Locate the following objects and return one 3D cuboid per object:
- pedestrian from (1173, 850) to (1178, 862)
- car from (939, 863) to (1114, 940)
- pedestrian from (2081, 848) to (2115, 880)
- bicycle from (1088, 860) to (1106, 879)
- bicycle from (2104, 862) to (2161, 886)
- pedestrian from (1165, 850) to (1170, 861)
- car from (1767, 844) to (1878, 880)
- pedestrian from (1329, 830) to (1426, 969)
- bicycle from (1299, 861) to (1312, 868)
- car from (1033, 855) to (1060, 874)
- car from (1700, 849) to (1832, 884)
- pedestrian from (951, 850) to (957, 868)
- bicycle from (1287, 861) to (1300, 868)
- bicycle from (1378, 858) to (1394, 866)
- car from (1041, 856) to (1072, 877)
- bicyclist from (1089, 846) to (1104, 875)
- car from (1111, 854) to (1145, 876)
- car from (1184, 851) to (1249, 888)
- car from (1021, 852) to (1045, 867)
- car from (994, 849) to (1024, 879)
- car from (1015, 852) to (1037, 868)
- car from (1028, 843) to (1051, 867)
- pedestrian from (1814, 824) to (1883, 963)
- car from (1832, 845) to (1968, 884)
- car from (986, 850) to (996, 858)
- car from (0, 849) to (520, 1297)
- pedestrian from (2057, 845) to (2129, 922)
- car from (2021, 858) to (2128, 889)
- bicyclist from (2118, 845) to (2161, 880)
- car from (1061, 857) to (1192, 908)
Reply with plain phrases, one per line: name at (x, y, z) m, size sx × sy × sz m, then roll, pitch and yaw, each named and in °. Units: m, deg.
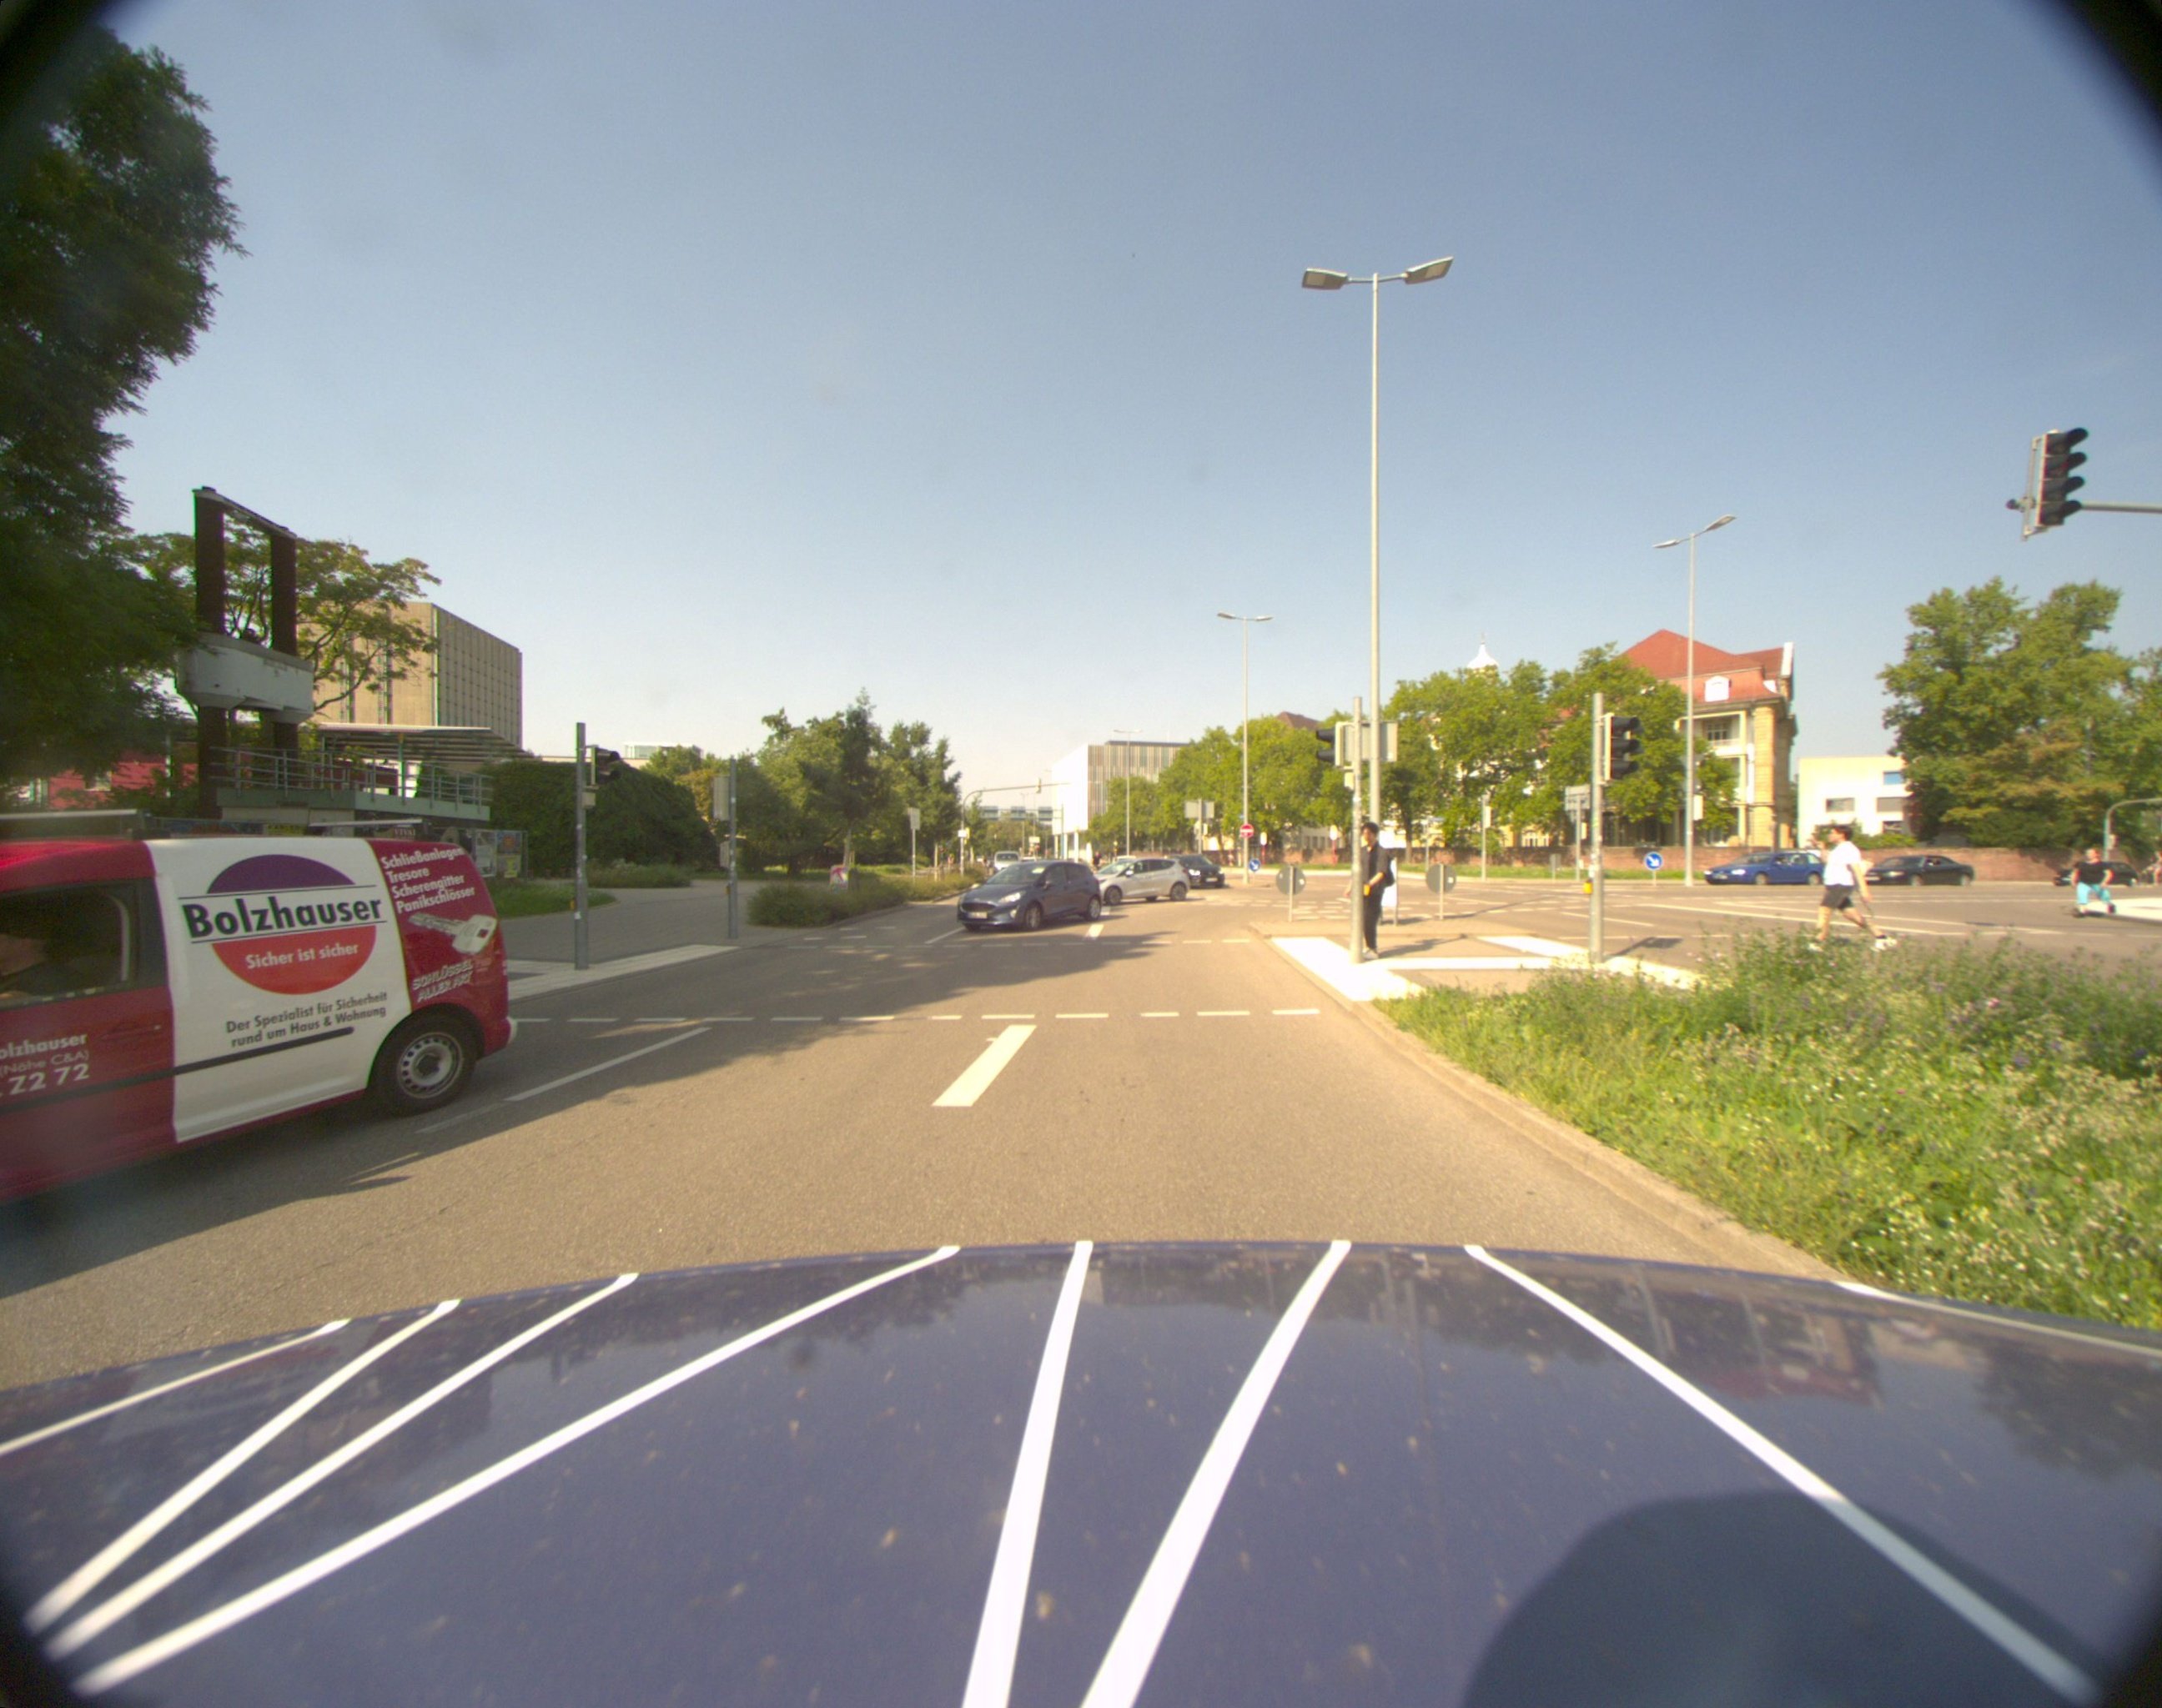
pedestrian at (13.354, 0.289, 107.100) m, size 0.484 × 1.641 × 0.593 m, roll 1°, pitch -2°, yaw -28°
car at (-1.049, 0.944, 16.909) m, size 1.636 × 1.418 × 4.330 m, roll -1°, pitch 0°, yaw 32°
pedestrian at (63.934, 0.656, 47.773) m, size 0.907 × 2.001 × 0.822 m, roll 0°, pitch -2°, yaw 4°
bicycle at (0.893, 0.910, 43.861) m, size 0.770 × 1.046 × 1.774 m, roll 0°, pitch 1°, yaw -7°
bicycle at (52.890, 0.991, 37.850) m, size 3.078 × 1.197 × 0.887 m, roll 0°, pitch -2°, yaw -7°
pedestrian at (12.412, 0.244, 108.551) m, size 0.536 × 1.562 × 0.501 m, roll -1°, pitch 1°, yaw -30°
car at (36.416, 0.417, 37.380) m, size 3.999 × 1.667 × 1.756 m, roll 0°, pitch -2°, yaw -7°
pedestrian at (4.036, 0.609, 10.407) m, size 1.081 × 1.829 × 0.730 m, roll -1°, pitch 1°, yaw 8°
bicycle at (25.555, 1.166, 86.586) m, size 0.435 × 0.830 × 1.546 m, roll 0°, pitch 0°, yaw -33°
car at (-2.766, 0.792, 59.627) m, size 1.999 × 1.497 × 4.433 m, roll 0°, pitch 0°, yaw -5°
car at (26.858, 0.474, 29.815) m, size 4.334 × 1.321 × 1.606 m, roll 0°, pitch 1°, yaw -12°
pedestrian at (-12.902, 0.475, 77.315) m, size 0.623 × 1.835 × 0.641 m, roll 0°, pitch 1°, yaw -9°
bicycle at (24.656, 1.229, 88.030) m, size 0.435 × 0.830 × 1.546 m, roll 0°, pitch 0°, yaw -33°
bicycle at (31.341, 0.792, 78.051) m, size 0.435 × 0.830 × 1.546 m, roll 0°, pitch 0°, yaw -35°
car at (-1.759, 0.834, 52.442) m, size 1.911 × 1.392 × 4.918 m, roll 0°, pitch 0°, yaw -5°
bicyclist at (0.894, 0.374, 43.839) m, size 0.749 × 1.626 × 0.875 m, roll 0°, pitch 0°, yaw -8°
car at (3.118, 0.700, 51.117) m, size 1.715 × 1.428 × 3.862 m, roll 0°, pitch 0°, yaw -6°
car at (6.027, 0.637, 34.403) m, size 1.853 × 1.569 × 4.712 m, roll 0°, pitch 0°, yaw -3°
car at (-4.863, 0.570, 76.850) m, size 1.933 × 1.497 × 4.290 m, roll 0°, pitch 0°, yaw -11°
car at (-4.851, 0.633, 51.502) m, size 1.846 × 1.864 × 4.971 m, roll -2°, pitch 1°, yaw -5°
car at (-6.056, 0.628, 83.436) m, size 1.933 × 1.650 × 4.290 m, roll 0°, pitch 0°, yaw -11°
car at (-3.807, 0.138, 68.702) m, size 1.749 × 2.001 × 3.748 m, roll 0°, pitch -2°, yaw -8°
pedestrian at (10.546, 0.520, 10.443) m, size 0.696 × 1.822 × 0.569 m, roll -1°, pitch 1°, yaw -37°
car at (33.608, 0.412, 31.238) m, size 4.001 × 1.543 × 1.998 m, roll 0°, pitch 0°, yaw -11°
car at (-19.064, 0.085, 160.947) m, size 1.832 × 1.674 × 3.996 m, roll 0°, pitch 0°, yaw -10°
car at (-5.206, 0.899, 3.410) m, size 1.735 × 1.808 × 4.280 m, roll -1°, pitch 0°, yaw 9°
pedestrian at (21.143, 0.588, 15.881) m, size 0.668 × 1.556 × 0.752 m, roll 0°, pitch 2°, yaw -28°
car at (54.581, 1.083, 41.758) m, size 3.999 × 1.667 × 1.756 m, roll 0°, pitch -2°, yaw -7°
bicyclist at (52.969, 0.426, 37.873) m, size 1.369 × 1.735 × 0.887 m, roll 0°, pitch -2°, yaw -7°
car at (1.469, 0.859, 24.296) m, size 3.865 × 1.425 × 1.717 m, roll -1°, pitch 1°, yaw -28°
